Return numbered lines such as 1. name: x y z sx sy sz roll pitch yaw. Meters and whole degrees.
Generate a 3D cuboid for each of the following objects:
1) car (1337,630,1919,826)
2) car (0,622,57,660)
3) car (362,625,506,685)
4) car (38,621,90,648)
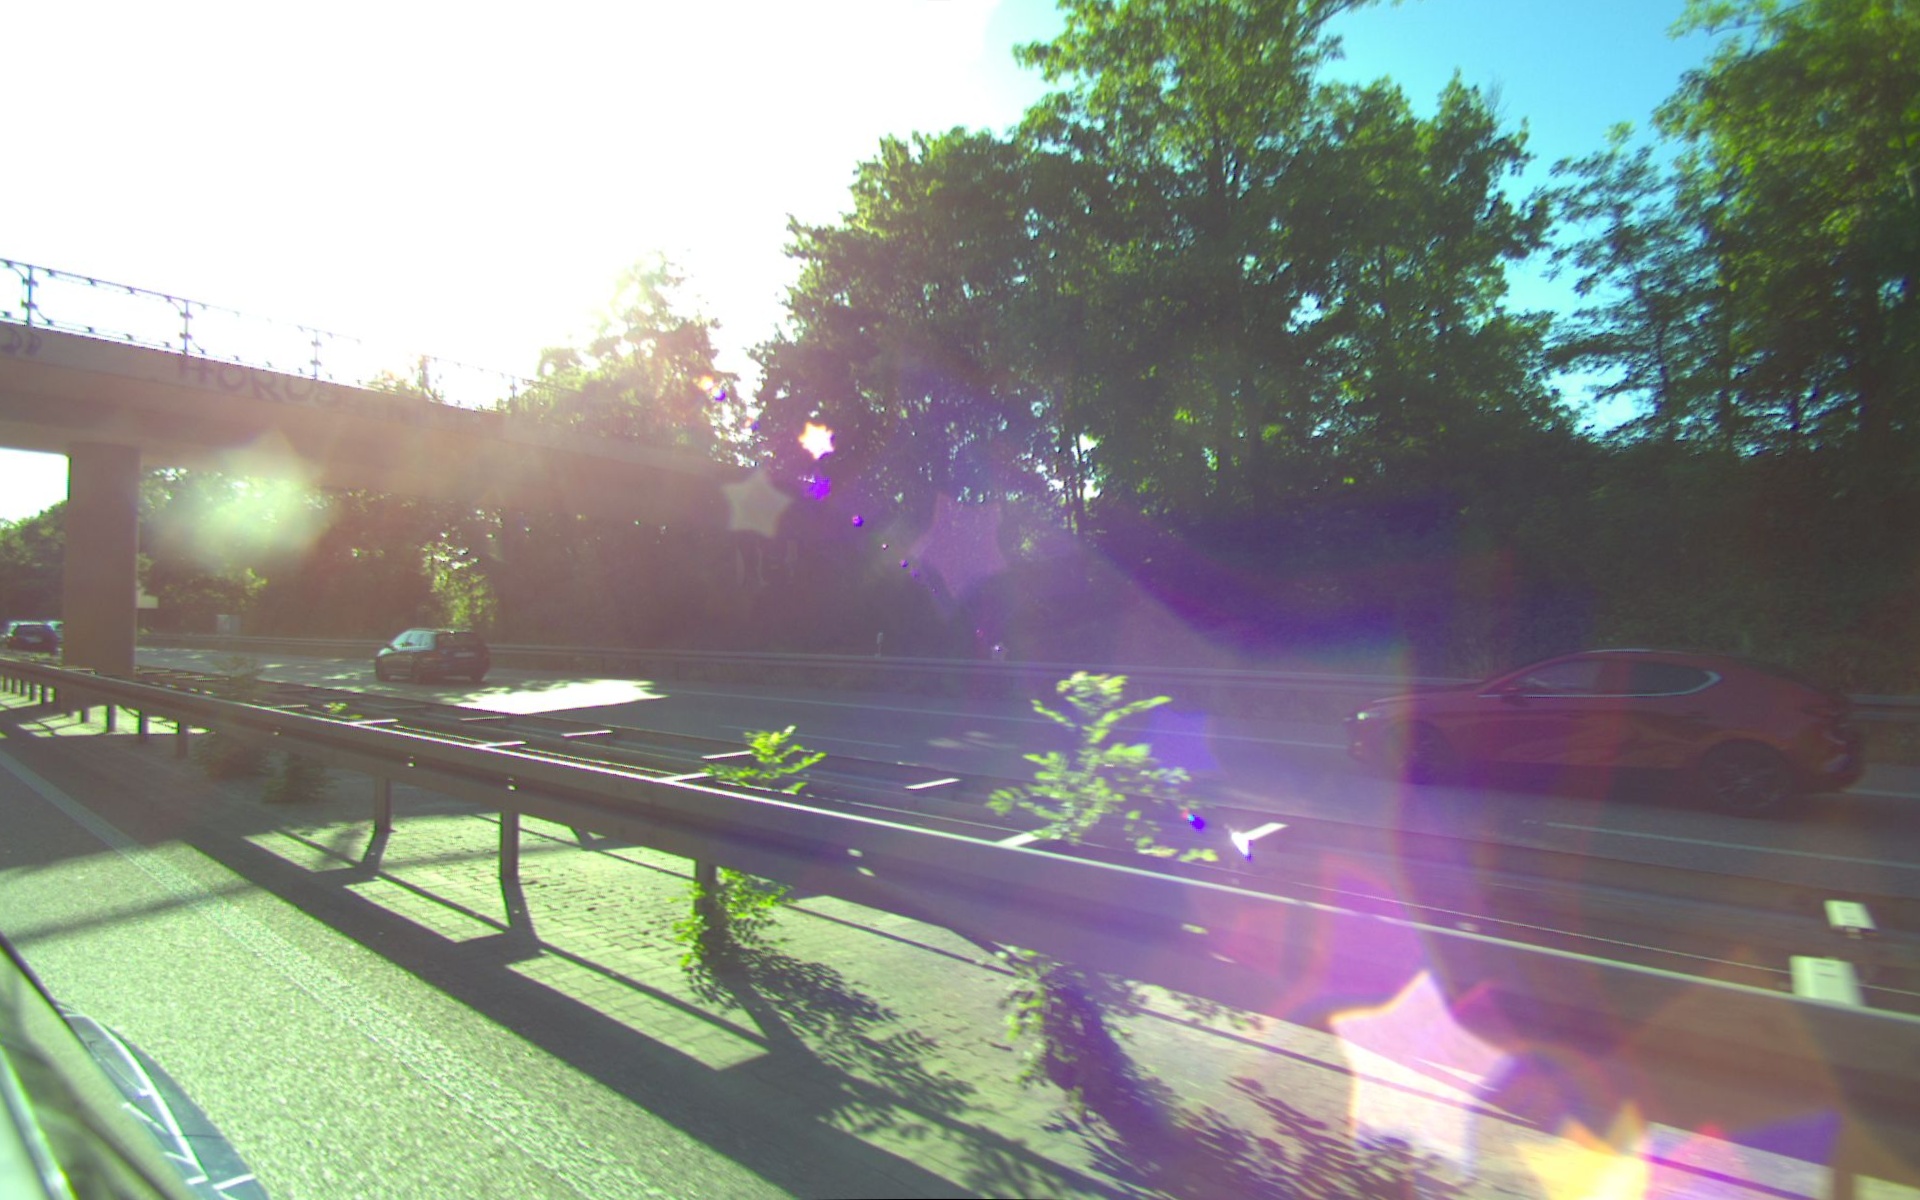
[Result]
1. car: 6.411 1.067 10.098 4.580 1.461 1.941 -1 -1 40
2. car: -44.394 1.902 47.804 4.588 1.737 1.941 -1 -2 40
3. car: -14.712 1.466 28.187 4.703 1.461 1.941 -1 1 41
4. car: -58.732 2.226 66.316 5.038 1.672 1.940 -1 -2 41
